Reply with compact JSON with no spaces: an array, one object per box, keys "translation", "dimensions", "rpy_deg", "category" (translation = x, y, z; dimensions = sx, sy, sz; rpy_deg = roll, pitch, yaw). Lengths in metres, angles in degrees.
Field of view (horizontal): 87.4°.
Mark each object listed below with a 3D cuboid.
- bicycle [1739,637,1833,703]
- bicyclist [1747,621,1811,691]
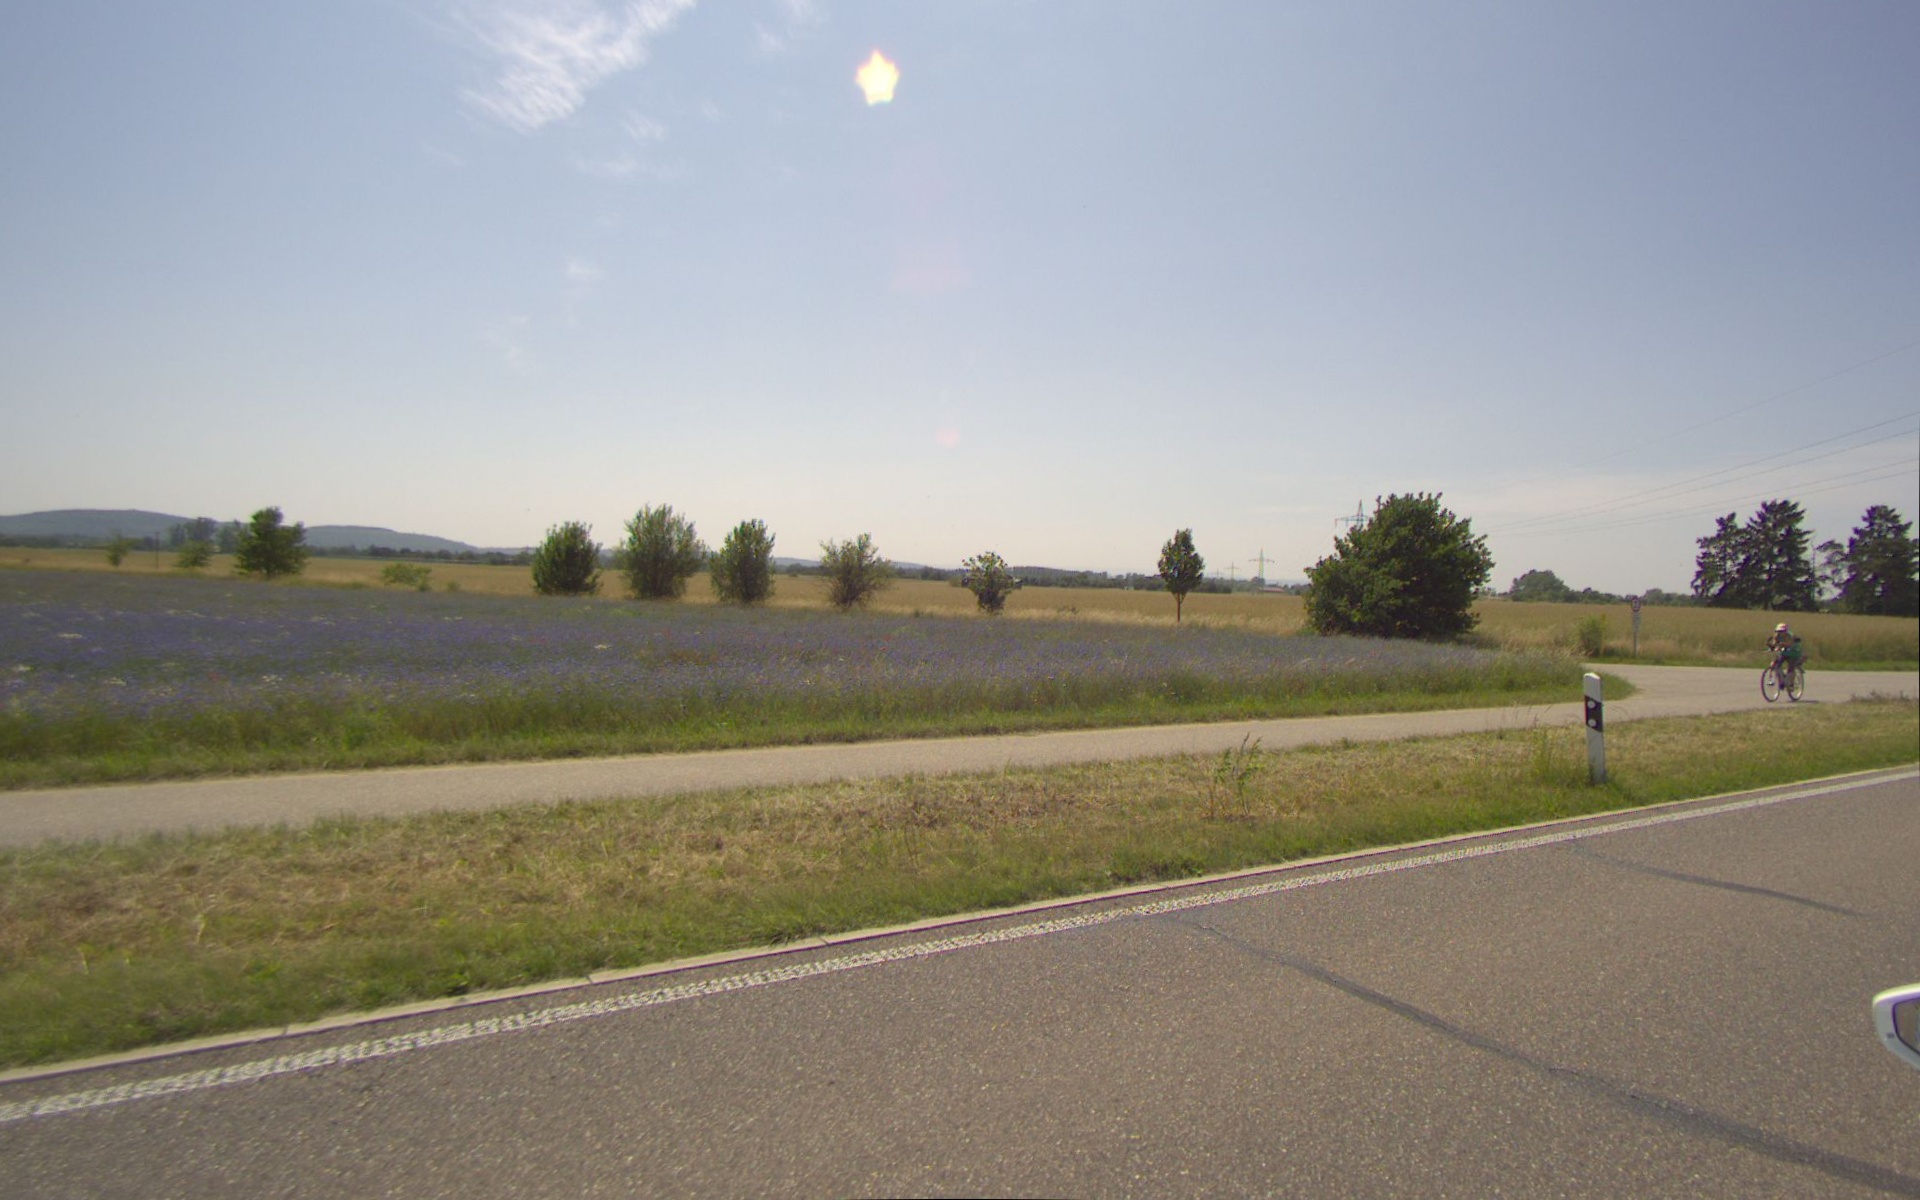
[{"translation":[16.877,1.399,20.505],"dimensions":[2.189,1.245,0.759],"rpy_deg":[1,1,-30],"category":"bicycle"},{"translation":[16.592,1.118,20.349],"dimensions":[0.954,1.349,0.698],"rpy_deg":[1,1,-30],"category":"bicyclist"}]
